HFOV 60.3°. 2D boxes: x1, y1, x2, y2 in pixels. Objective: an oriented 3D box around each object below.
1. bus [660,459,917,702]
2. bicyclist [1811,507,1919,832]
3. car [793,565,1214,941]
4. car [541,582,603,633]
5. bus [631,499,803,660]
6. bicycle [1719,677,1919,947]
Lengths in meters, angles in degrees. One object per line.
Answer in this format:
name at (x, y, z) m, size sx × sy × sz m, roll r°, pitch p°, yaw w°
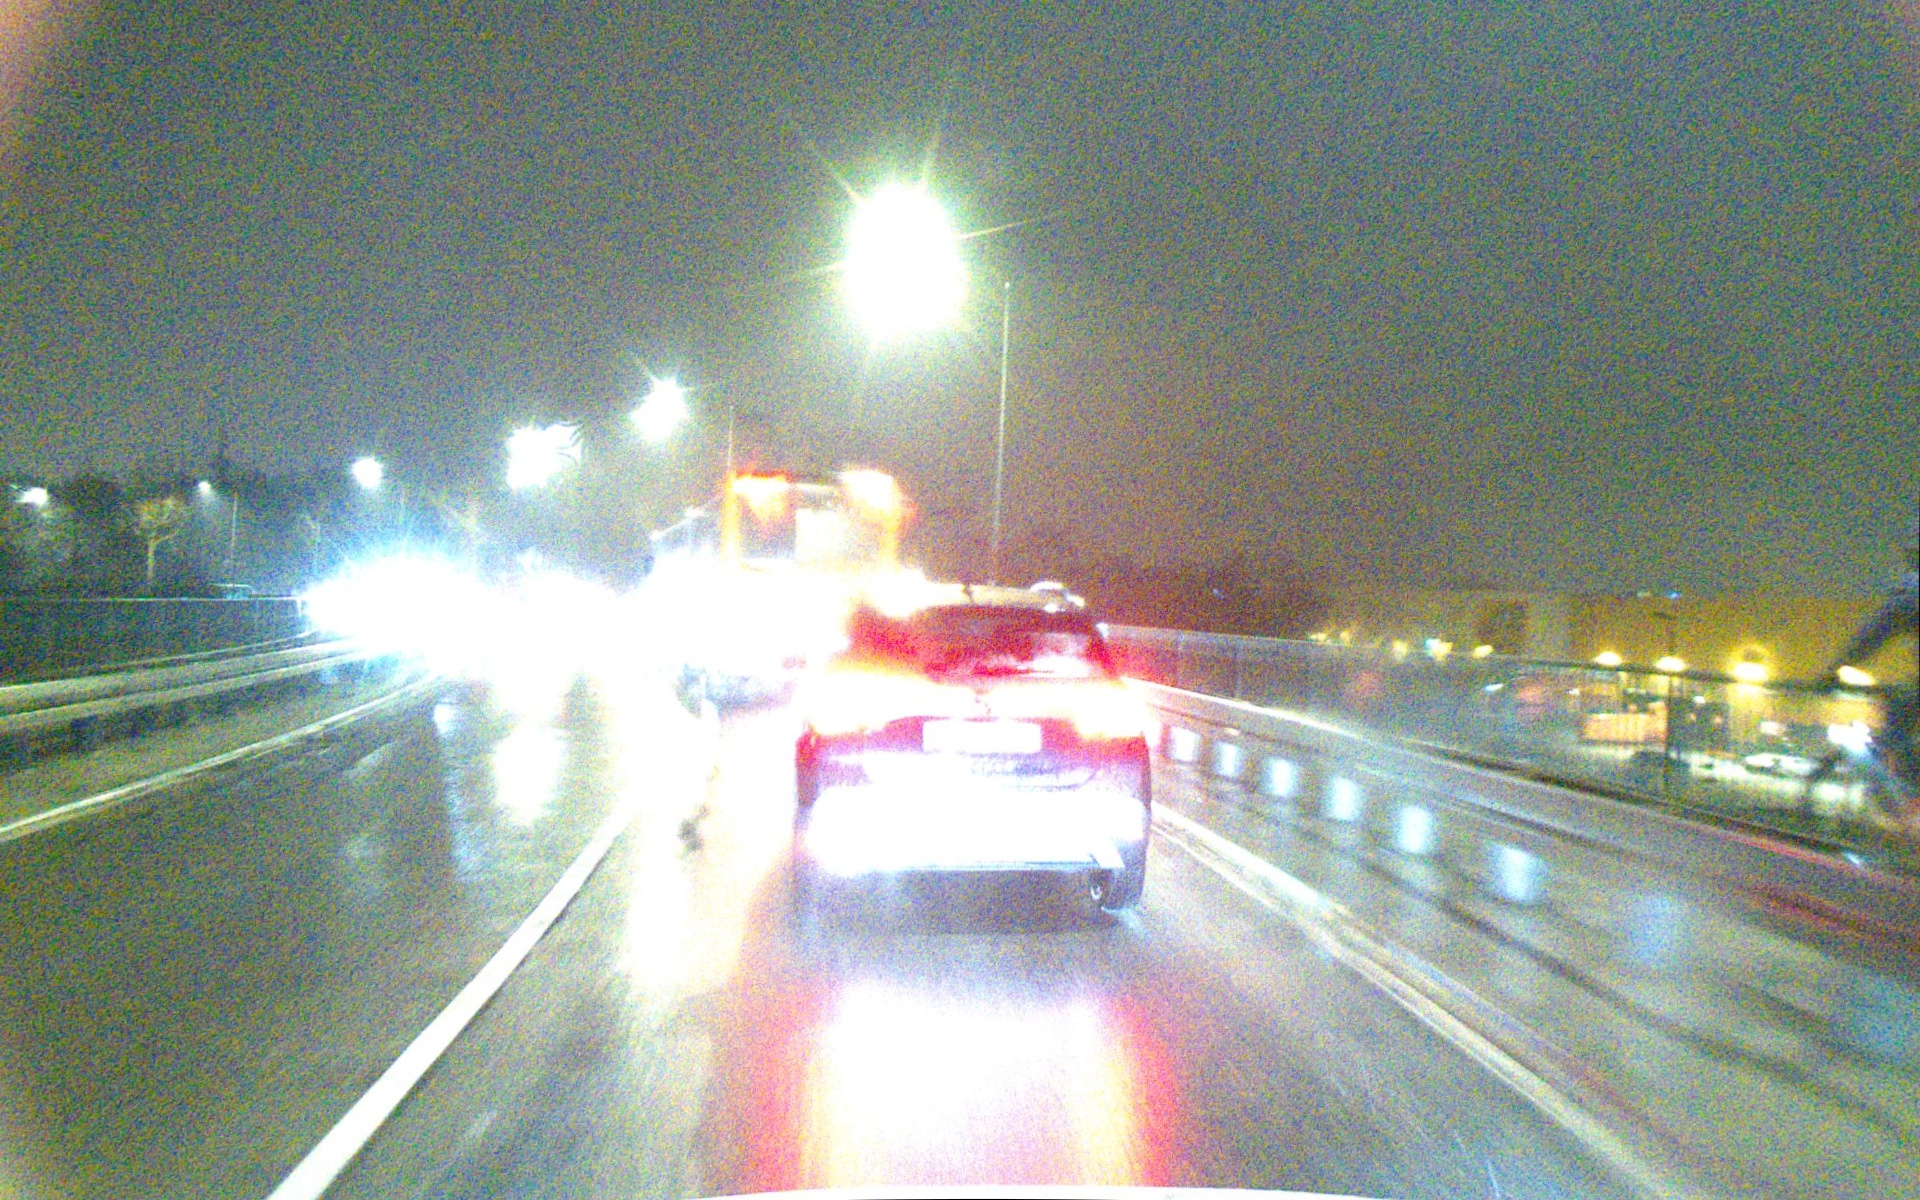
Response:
bus at (-3.381, -0.306, 28.219) m, size 3.029 × 3.187 × 12.658 m, roll 0°, pitch 0°, yaw -12°
bicyclist at (4.243, 0.297, 7.380) m, size 0.443 × 1.373 × 0.764 m, roll 1°, pitch 0°, yaw -3°
car at (0.083, 0.676, 9.161) m, size 1.819 × 1.614 × 3.997 m, roll 1°, pitch 0°, yaw -3°
car at (-13.994, 0.299, 59.483) m, size 1.614 × 1.685 × 3.683 m, roll 0°, pitch -2°, yaw -23°
bus at (-5.819, -0.430, 38.327) m, size 2.998 × 3.186 × 8.048 m, roll 3°, pitch 0°, yaw -14°
bicycle at (4.222, 0.926, 7.516) m, size 0.474 × 1.052 × 2.171 m, roll 1°, pitch 0°, yaw -2°
